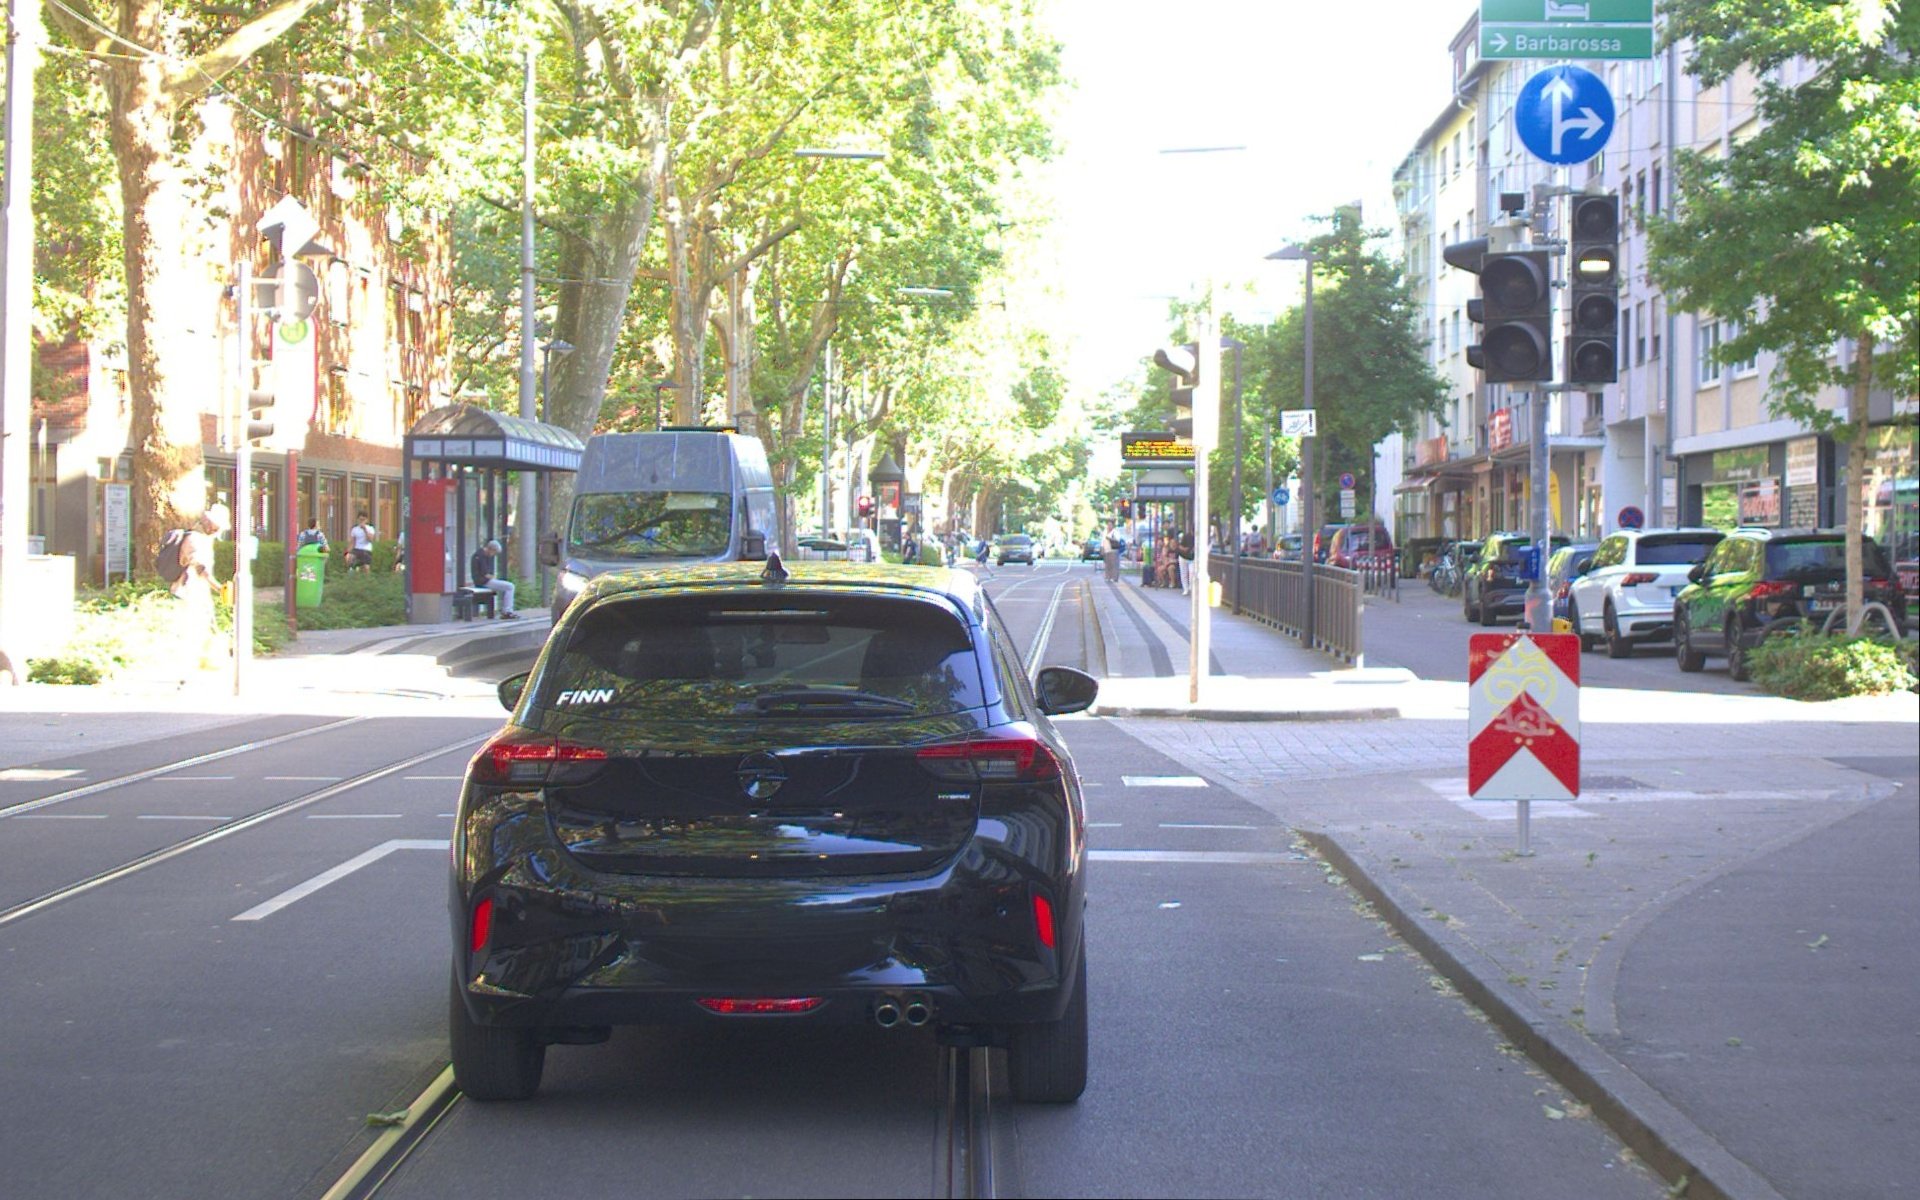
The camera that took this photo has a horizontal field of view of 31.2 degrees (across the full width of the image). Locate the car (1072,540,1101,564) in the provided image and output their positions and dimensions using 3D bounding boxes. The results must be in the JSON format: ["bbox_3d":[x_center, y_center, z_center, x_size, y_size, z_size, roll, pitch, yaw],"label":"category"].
[{"bbox_3d":[8.258,-3.148,225.135,1.745,1.539,4.000,2,1,0],"label":"car"}]

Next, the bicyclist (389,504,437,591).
[{"bbox_3d":[-11.141,-1.068,70.037,0.782,1.757,0.951,2,0,-1],"label":"bicyclist"}]

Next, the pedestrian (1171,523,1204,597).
[{"bbox_3d":[4.985,-0.883,75.380,0.631,1.571,0.870,3,1,2],"label":"pedestrian"}]

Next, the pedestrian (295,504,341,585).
[{"bbox_3d":[-13.479,-1.159,72.155,0.735,1.666,0.861,2,0,2],"label":"pedestrian"}]

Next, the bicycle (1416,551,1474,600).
[{"bbox_3d":[11.452,-0.593,81.253,0.621,1.132,2.440,2,1,-9],"label":"bicycle"}]

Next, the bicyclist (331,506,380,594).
[{"bbox_3d":[-12.250,-1.018,69.709,0.774,1.744,0.997,2,0,0],"label":"bicyclist"}]

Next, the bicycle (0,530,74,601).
[{"bbox_3d":[-16.362,-0.609,58.547,2.340,1.162,0.682,2,0,3],"label":"bicycle"}]

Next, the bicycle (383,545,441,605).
[{"bbox_3d":[-11.149,-0.515,70.019,0.782,1.187,2.596,2,1,-1],"label":"bicycle"}]

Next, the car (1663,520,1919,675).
[{"bbox_3d":[9.153,-0.045,38.021,1.993,1.610,4.445,0,0,2],"label":"car"}]

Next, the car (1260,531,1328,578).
[{"bbox_3d":[11.096,-1.491,114.488,1.994,1.481,4.000,2,1,2],"label":"car"}]

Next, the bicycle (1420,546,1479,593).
[{"bbox_3d":[12.282,-0.770,86.382,0.611,1.132,2.922,2,1,-9],"label":"bicycle"}]

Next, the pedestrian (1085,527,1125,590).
[{"bbox_3d":[3.981,-1.138,94.353,0.751,1.703,0.761,2,0,37],"label":"pedestrian"}]

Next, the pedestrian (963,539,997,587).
[{"bbox_3d":[0.755,-1.379,128.300,1.163,1.742,0.958,2,0,-3],"label":"pedestrian"}]

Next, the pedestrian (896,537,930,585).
[{"bbox_3d":[-1.762,-1.452,128.576,1.163,1.742,0.958,2,0,-3],"label":"pedestrian"}]

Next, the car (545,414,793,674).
[{"bbox_3d":[-3.203,-0.615,39.135,2.114,2.729,6.114,0,0,2],"label":"car"}]

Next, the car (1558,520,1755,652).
[{"bbox_3d":[9.108,-0.191,45.293,1.799,1.600,4.415,2,1,2],"label":"car"}]

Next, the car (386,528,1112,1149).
[{"bbox_3d":[-0.519,0.564,10.216,1.760,1.503,3.683,0,1,0],"label":"car"}]

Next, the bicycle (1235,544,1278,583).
[{"bbox_3d":[8.878,-1.099,102.969,0.861,1.132,2.396,2,1,-4],"label":"bicycle"}]

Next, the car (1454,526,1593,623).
[{"bbox_3d":[9.983,-0.456,61.210,1.857,1.610,4.397,2,1,2],"label":"car"}]

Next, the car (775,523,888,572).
[{"bbox_3d":[-5.145,-2.091,137.531,4.384,1.845,2.000,2,0,-5],"label":"car"}]

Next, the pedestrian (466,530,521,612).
[{"bbox_3d":[-6.737,-0.421,49.705,0.705,1.164,0.659,0,0,-1],"label":"pedestrian"}]

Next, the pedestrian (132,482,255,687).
[{"bbox_3d":[-7.079,-0.153,31.770,0.924,1.829,0.920,2,3,-2],"label":"pedestrian"}]

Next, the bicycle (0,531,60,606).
[{"bbox_3d":[-16.561,-0.571,58.112,2.458,1.215,0.682,3,0,3],"label":"bicycle"}]

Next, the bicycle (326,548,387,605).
[{"bbox_3d":[-12.251,-0.486,69.824,0.782,1.107,2.596,2,1,-1],"label":"bicycle"}]

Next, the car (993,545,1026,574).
[{"bbox_3d":[2.735,-2.253,191.421,1.745,1.539,4.000,2,1,0],"label":"car"}]

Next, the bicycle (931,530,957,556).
[{"bbox_3d":[-0.792,-2.849,171.118,0.955,1.236,2.977,2,1,5],"label":"bicycle"}]

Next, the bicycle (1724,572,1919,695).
[{"bbox_3d":[8.873,0.338,34.897,2.127,1.183,0.681,2,0,10],"label":"bicycle"}]

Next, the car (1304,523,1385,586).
[{"bbox_3d":[11.416,-1.341,102.295,1.993,1.791,4.000,2,1,1],"label":"car"}]

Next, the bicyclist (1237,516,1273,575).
[{"bbox_3d":[8.860,-1.641,103.334,0.861,1.753,1.054,2,0,-4],"label":"bicyclist"}]

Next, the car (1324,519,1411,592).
[{"bbox_3d":[11.298,-1.228,95.528,1.993,1.946,4.000,2,1,1],"label":"car"}]

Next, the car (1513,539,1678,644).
[{"bbox_3d":[9.333,-0.143,50.777,1.744,1.435,4.247,2,1,2],"label":"car"}]

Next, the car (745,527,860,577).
[{"bbox_3d":[-5.774,-1.746,125.863,4.113,1.695,1.884,2,0,-5],"label":"car"}]
